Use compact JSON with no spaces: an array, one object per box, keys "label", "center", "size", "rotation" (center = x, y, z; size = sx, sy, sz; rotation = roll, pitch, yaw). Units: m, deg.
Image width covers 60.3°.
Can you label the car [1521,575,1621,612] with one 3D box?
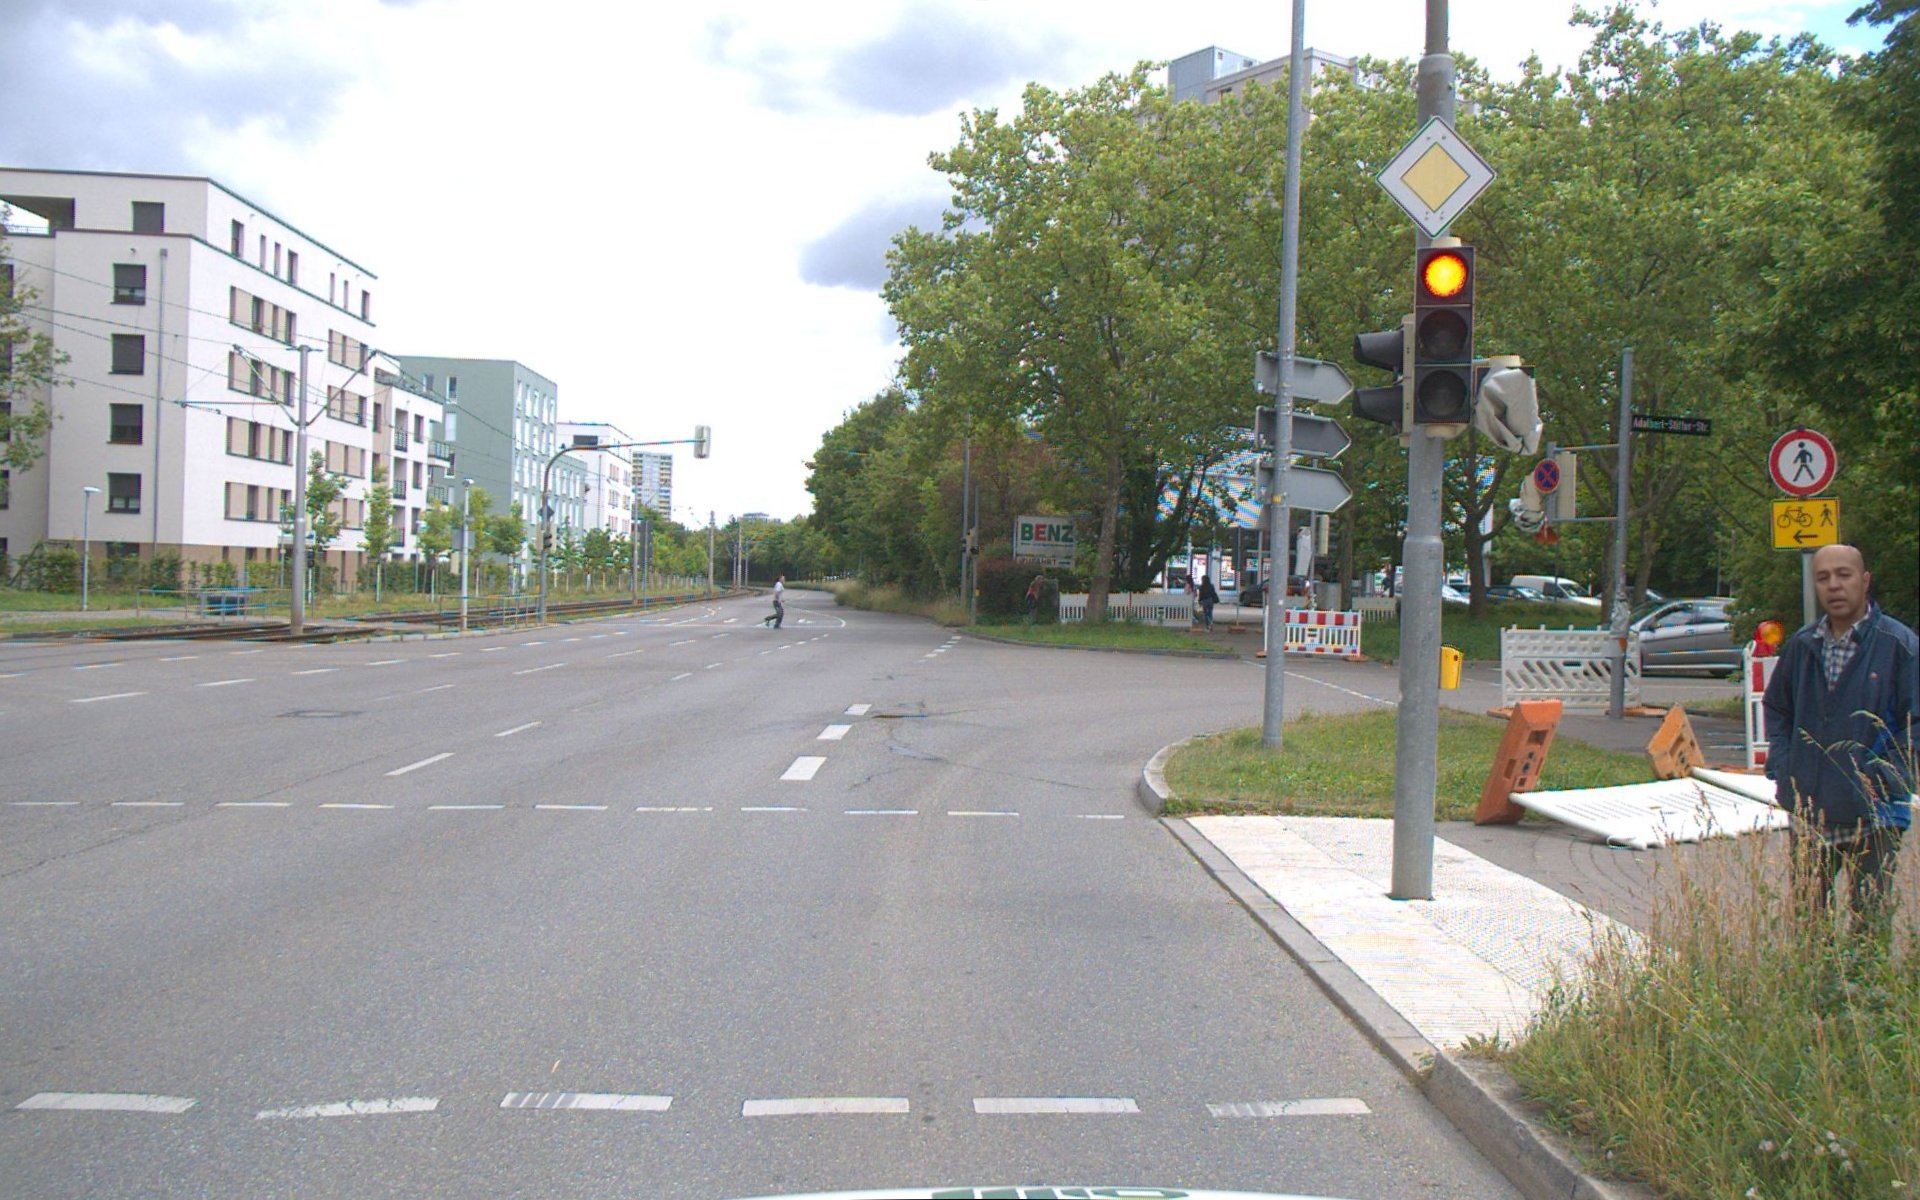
[{"label":"car","center":[25.540,-0.258,69.248],"size":[1.465,1.491,3.851],"rotation":[1,0,-31]}]

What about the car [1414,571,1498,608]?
[{"label":"car","center":[24.054,-0.509,80.250],"size":[1.650,1.663,3.783],"rotation":[1,1,-30]}]

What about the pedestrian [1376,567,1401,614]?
[{"label":"pedestrian","center":[18.696,-0.415,72.219],"size":[0.789,2.037,0.852],"rotation":[1,-1,-5]}]

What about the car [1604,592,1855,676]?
[{"label":"car","center":[15.692,0.681,33.861],"size":[4.307,1.614,1.772],"rotation":[1,0,0]}]

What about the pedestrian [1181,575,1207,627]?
[{"label":"pedestrian","center":[6.911,0.033,48.901],"size":[0.671,1.515,0.700],"rotation":[1,-1,2]}]

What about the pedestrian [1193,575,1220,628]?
[{"label":"pedestrian","center":[7.162,0.042,48.010],"size":[0.703,1.515,0.700],"rotation":[1,-1,3]}]

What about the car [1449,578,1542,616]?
[{"label":"car","center":[21.094,-0.127,65.252],"size":[1.464,1.429,3.375],"rotation":[1,0,-30]}]

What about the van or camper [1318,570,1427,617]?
[{"label":"van or camper","center":[15.488,-0.263,62.233],"size":[1.819,1.713,3.964],"rotation":[0,1,-28]}]

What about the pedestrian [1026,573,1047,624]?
[{"label":"pedestrian","center":[2.388,-0.047,51.687],"size":[0.639,1.565,0.773],"rotation":[1,-1,3]}]

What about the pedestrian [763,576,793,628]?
[{"label":"pedestrian","center":[-5.686,0.060,51.734],"size":[0.831,1.614,0.796],"rotation":[1,-1,-2]}]

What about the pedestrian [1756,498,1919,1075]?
[{"label":"pedestrian","center":[3.089,0.568,5.541],"size":[0.712,1.770,0.955],"rotation":[1,0,27]}]

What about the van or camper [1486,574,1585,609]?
[{"label":"van or camper","center":[23.593,-0.347,67.883],"size":[1.499,1.380,3.732],"rotation":[1,0,-33]}]

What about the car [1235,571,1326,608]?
[{"label":"car","center":[14.061,-0.452,72.729],"size":[1.708,1.526,4.232],"rotation":[1,0,-27]}]

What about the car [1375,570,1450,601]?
[{"label":"car","center":[21.468,-0.696,78.552],"size":[1.465,1.429,3.372],"rotation":[1,0,-31]}]
